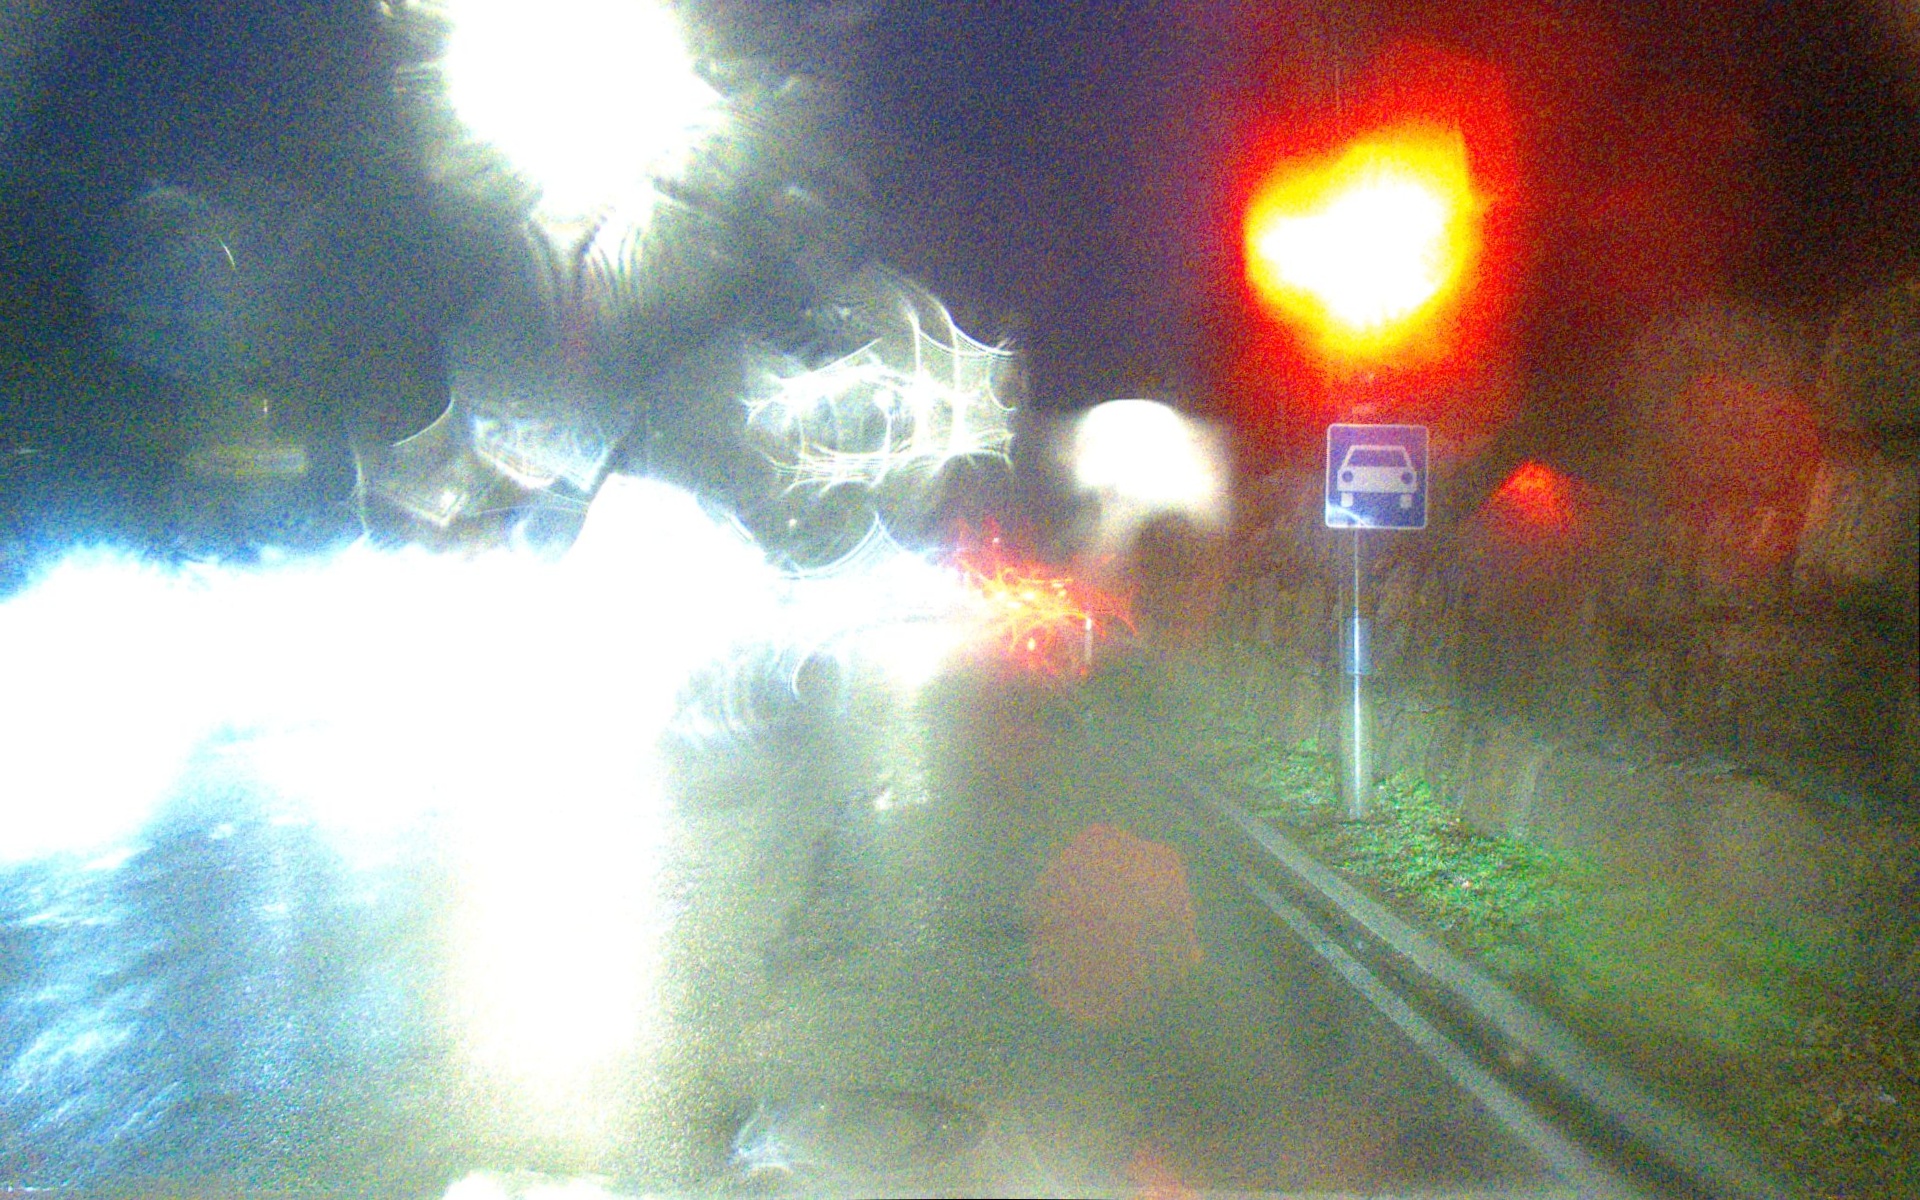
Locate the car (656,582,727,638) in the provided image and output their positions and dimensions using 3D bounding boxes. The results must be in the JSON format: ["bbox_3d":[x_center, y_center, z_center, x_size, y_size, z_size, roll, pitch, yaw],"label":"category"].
[{"bbox_3d":[-8.638,0.333,53.409,1.683,1.733,4.142,0,-1,-1],"label":"car"}]

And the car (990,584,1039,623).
[{"bbox_3d":[2.336,0.160,71.843,1.953,1.639,4.102,0,-1,-1],"label":"car"}]

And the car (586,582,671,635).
[{"bbox_3d":[-11.309,0.309,56.636,1.952,1.750,4.001,0,-1,2],"label":"car"}]

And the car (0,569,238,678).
[{"bbox_3d":[-13.620,0.337,26.650,1.755,1.599,4.914,0,0,1],"label":"car"}]

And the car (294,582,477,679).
[{"bbox_3d":[-10.264,0.503,29.929,1.664,1.599,4.711,0,0,0],"label":"car"}]

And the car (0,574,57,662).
[{"bbox_3d":[-21.531,0.387,35.096,3.958,1.863,1.699,-1,1,-38],"label":"car"}]

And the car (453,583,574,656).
[{"bbox_3d":[-9.946,0.441,37.103,1.552,1.552,3.653,0,-1,3],"label":"car"}]

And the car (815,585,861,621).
[{"bbox_3d":[-5.491,0.151,74.730,1.673,1.561,4.600,0,-1,0],"label":"car"}]

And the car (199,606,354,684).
[{"bbox_3d":[-13.687,0.878,33.352,1.634,1.479,3.727,0,-1,-1],"label":"car"}]

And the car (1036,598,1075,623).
[{"bbox_3d":[5.669,0.619,98.295,2.060,1.464,3.999,0,-1,-1],"label":"car"}]
